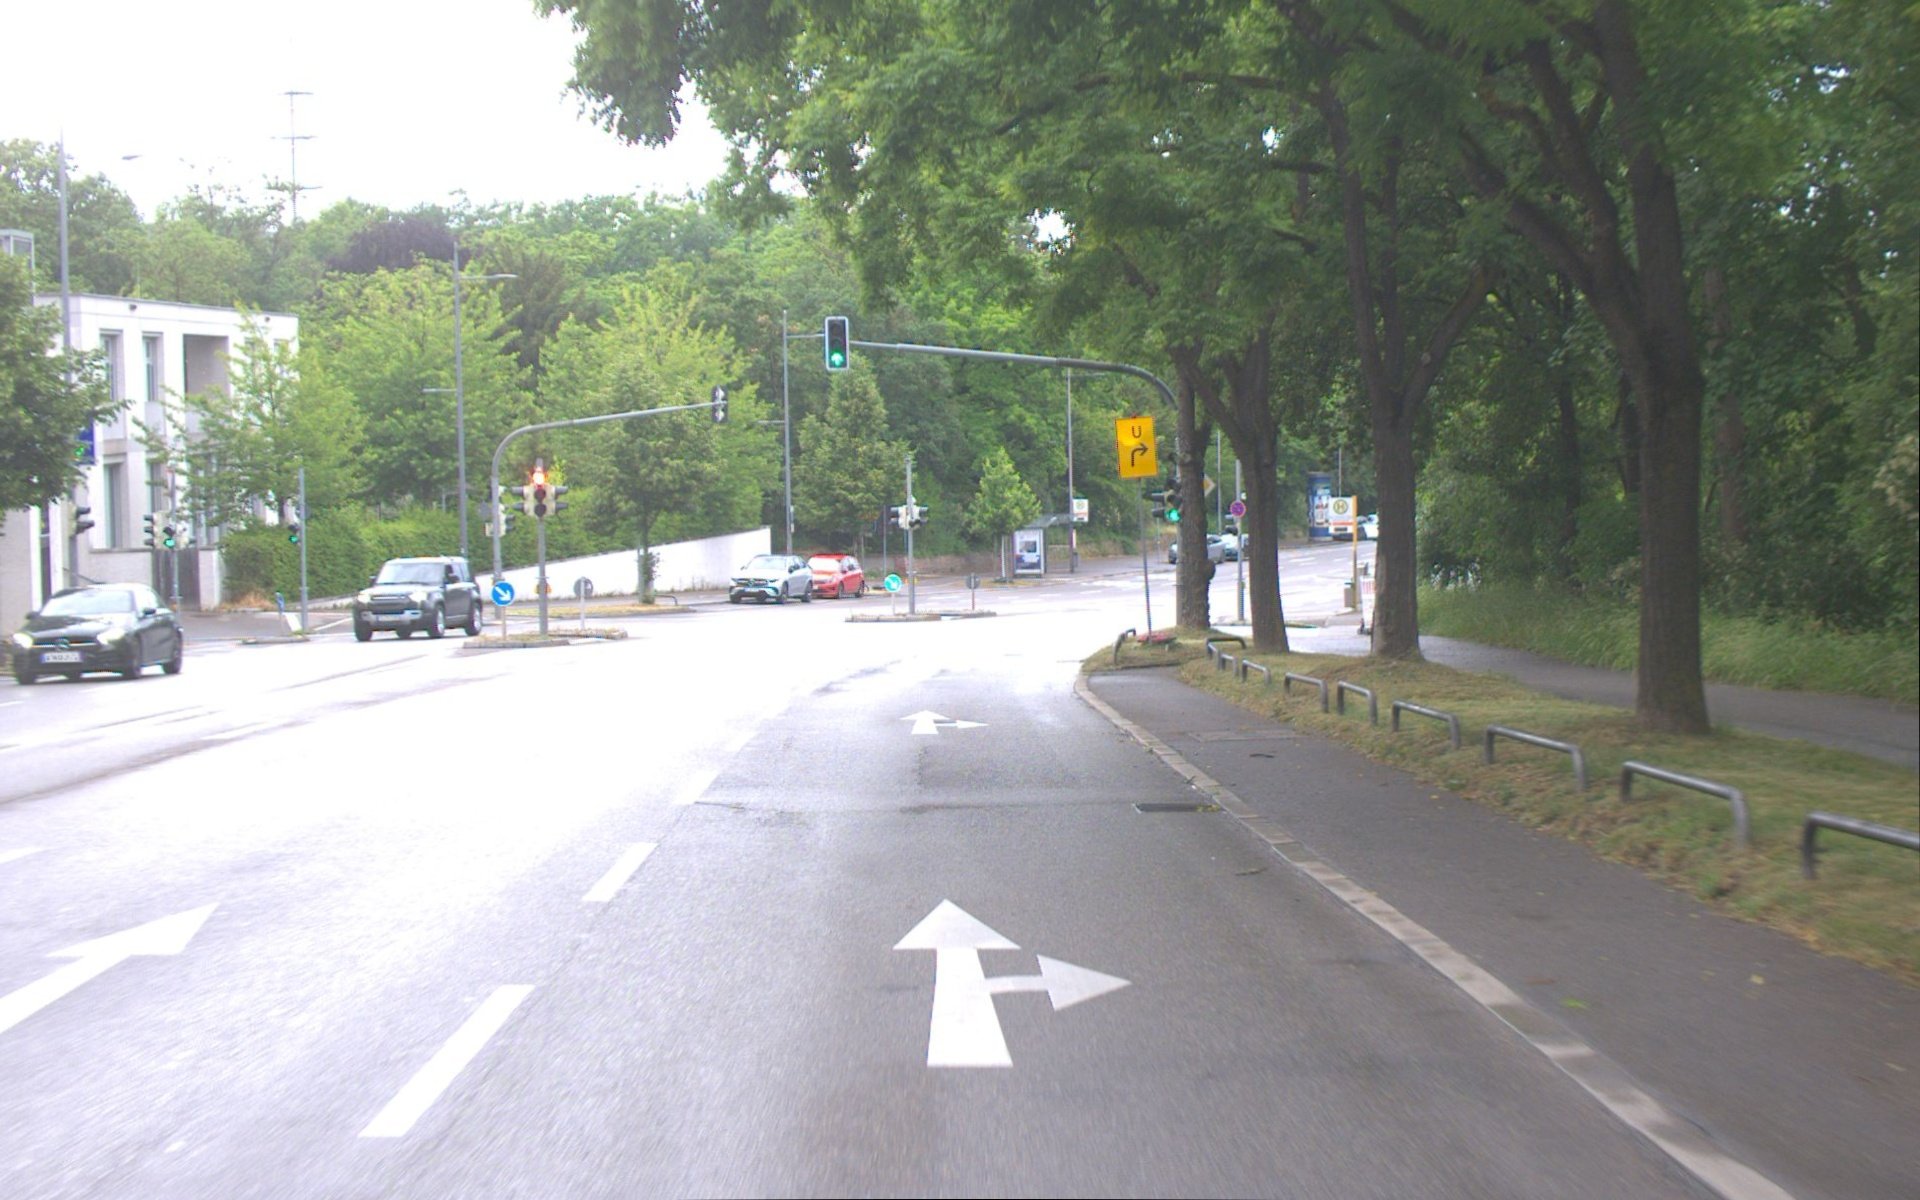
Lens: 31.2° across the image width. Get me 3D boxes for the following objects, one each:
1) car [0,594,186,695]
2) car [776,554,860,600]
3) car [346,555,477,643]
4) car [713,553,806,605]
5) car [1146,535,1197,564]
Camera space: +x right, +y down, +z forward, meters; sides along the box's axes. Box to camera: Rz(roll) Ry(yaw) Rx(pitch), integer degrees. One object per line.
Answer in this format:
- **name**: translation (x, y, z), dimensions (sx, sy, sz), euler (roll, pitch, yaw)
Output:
- **car**: translation (-13.081, 0.638, 52.087), dimensions (1.770, 1.376, 4.190), euler (-2, 0, -1)
- **car**: translation (-5.135, -0.830, 124.914), dimensions (1.876, 1.569, 4.220), euler (2, 1, 14)
- **car**: translation (-12.726, -0.056, 80.079), dimensions (1.921, 1.851, 4.506), euler (-4, 1, 4)
- **car**: translation (-6.850, -0.741, 117.824), dimensions (1.854, 1.634, 4.090), euler (3, 2, 16)
- **car**: translation (10.897, -2.579, 176.987), dimensions (1.714, 1.455, 3.747), euler (1, 0, 18)
